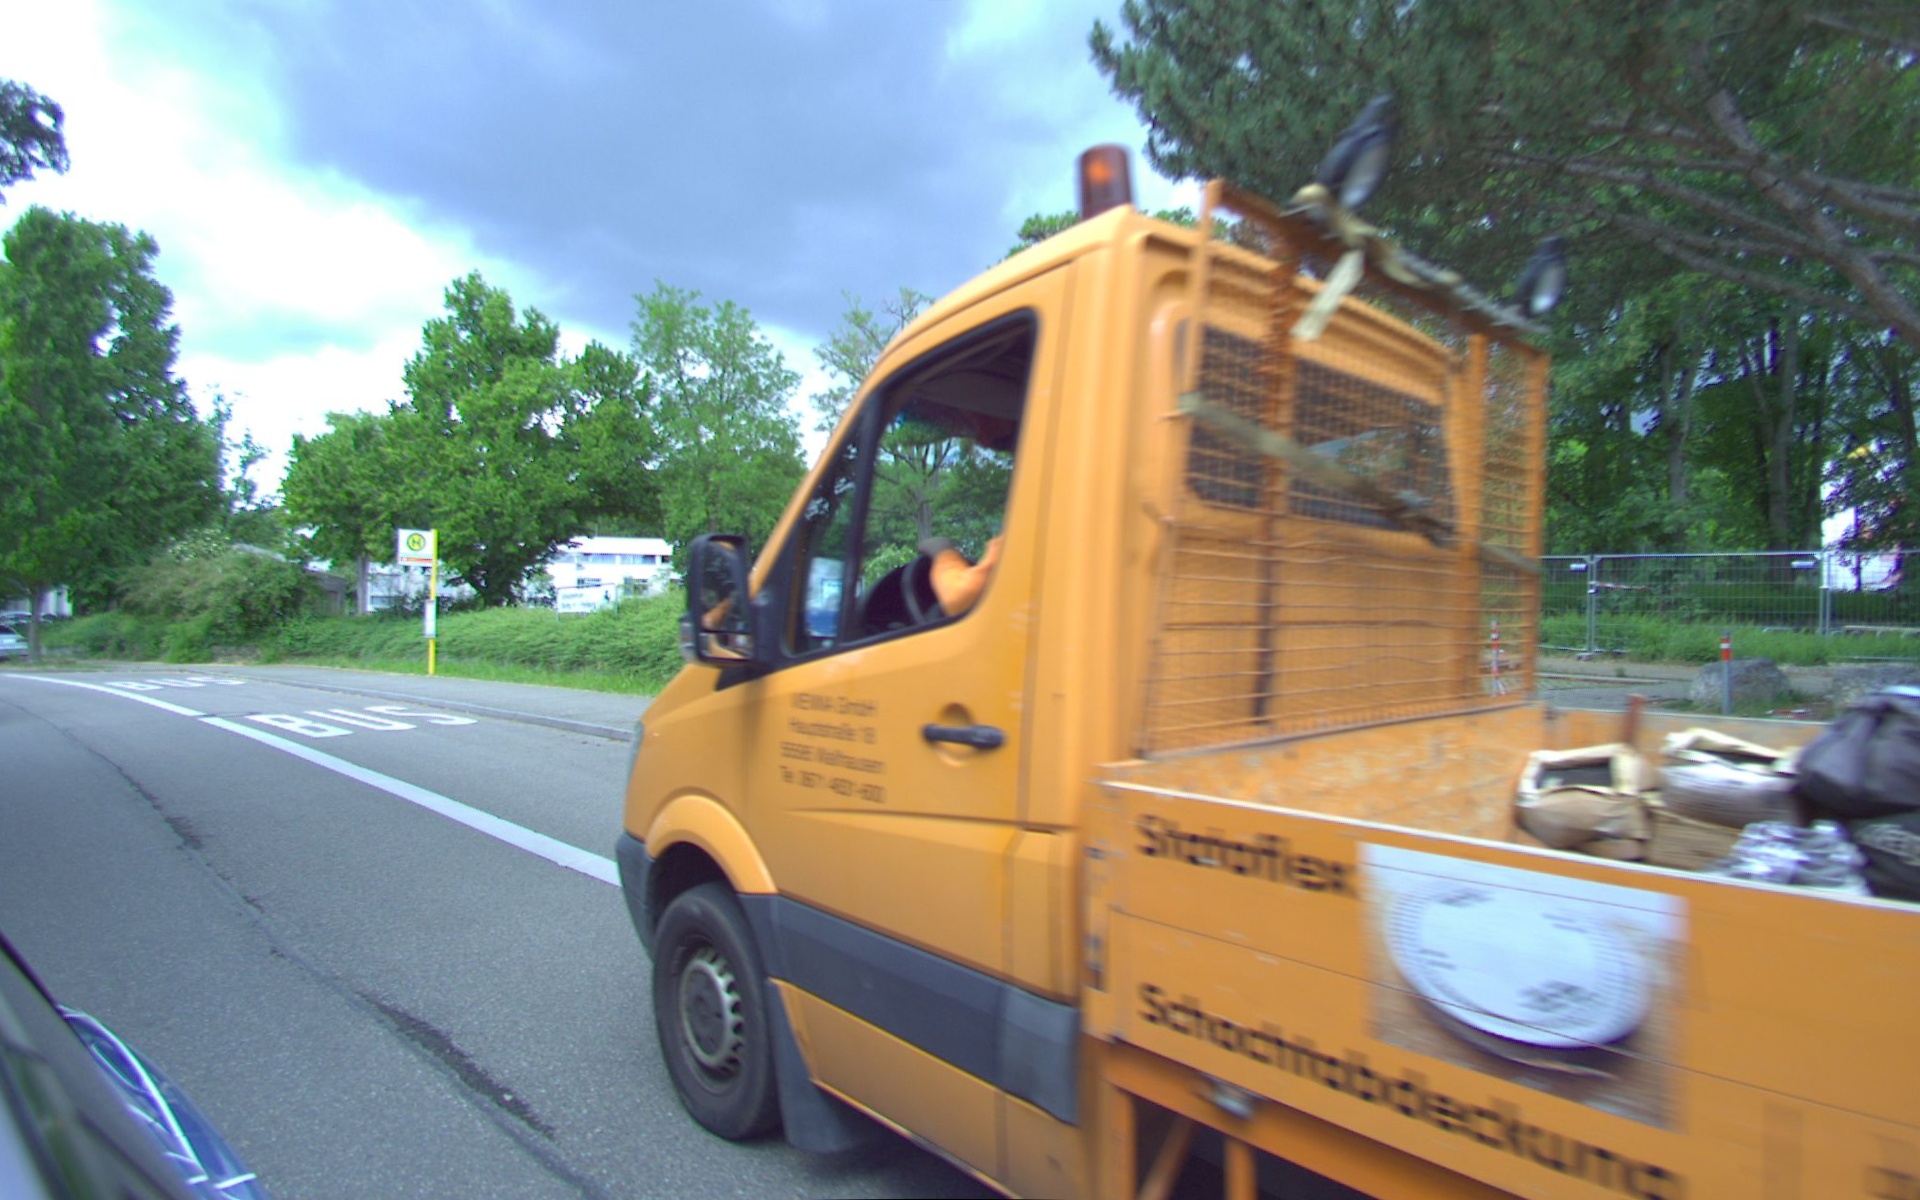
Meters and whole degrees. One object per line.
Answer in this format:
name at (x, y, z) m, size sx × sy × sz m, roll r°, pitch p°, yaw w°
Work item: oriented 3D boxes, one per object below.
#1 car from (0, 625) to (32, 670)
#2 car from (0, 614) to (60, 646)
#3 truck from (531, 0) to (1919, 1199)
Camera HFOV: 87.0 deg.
car at (-34.177, 1.634, 35.059) m, size 4.620 × 1.503 × 1.834 m, roll -1°, pitch -1°, yaw 32°
car at (-52.016, 1.635, 55.256) m, size 3.747 × 1.650 × 2.006 m, roll -1°, pitch 1°, yaw -15°
truck at (1.471, 0.274, 1.721) m, size 2.293 × 2.489 × 6.029 m, roll -1°, pitch -1°, yaw -41°
